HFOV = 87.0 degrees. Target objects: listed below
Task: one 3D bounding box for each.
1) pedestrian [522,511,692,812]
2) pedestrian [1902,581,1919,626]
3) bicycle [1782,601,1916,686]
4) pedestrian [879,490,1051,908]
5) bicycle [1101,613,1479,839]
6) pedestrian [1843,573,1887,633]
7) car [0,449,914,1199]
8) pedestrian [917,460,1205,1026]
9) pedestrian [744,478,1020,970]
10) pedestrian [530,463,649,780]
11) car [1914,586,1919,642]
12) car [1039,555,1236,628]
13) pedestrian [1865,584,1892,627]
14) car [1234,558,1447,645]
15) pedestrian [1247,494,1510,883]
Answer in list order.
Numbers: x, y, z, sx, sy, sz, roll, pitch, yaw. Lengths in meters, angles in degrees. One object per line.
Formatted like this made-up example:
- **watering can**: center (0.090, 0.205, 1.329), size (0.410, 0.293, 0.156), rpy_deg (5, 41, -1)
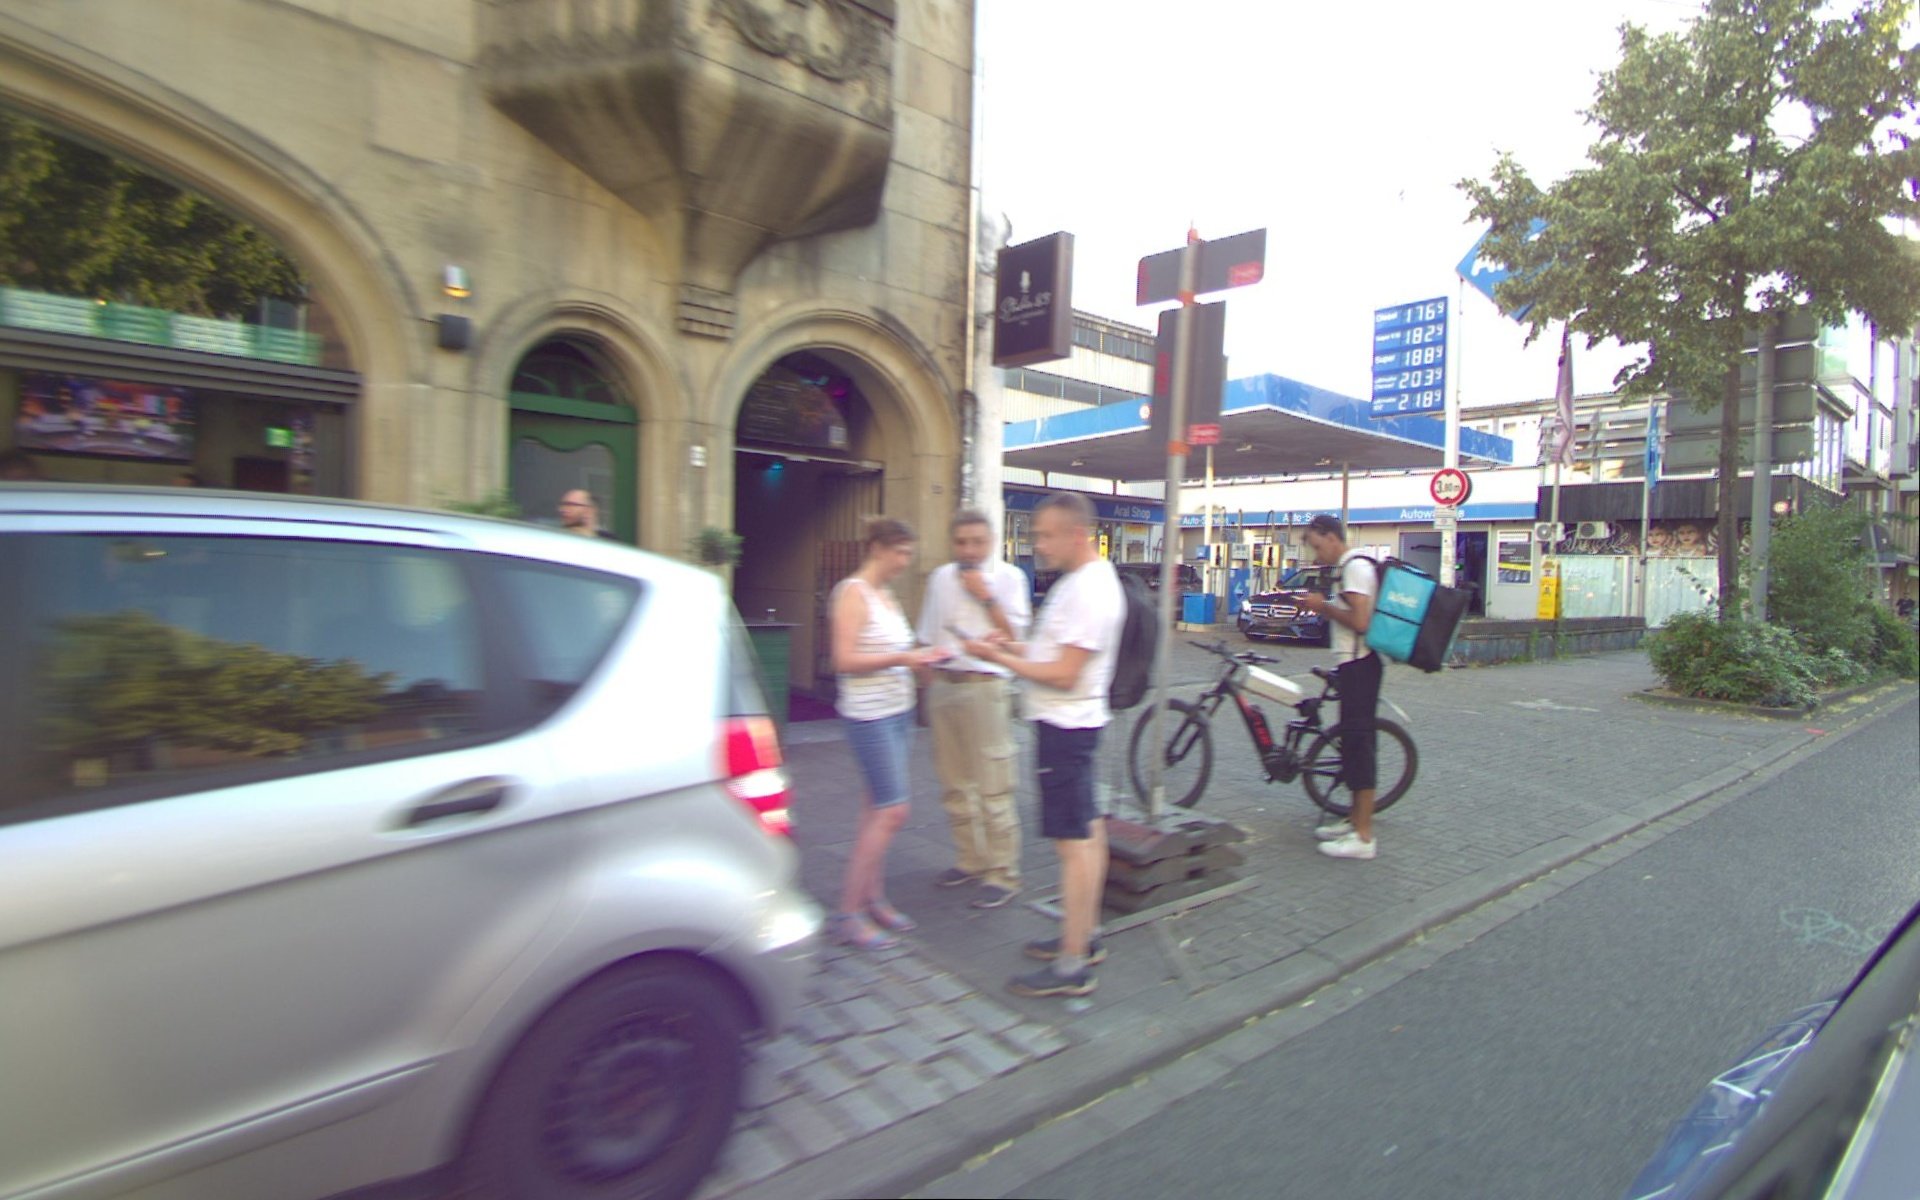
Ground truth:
- **pedestrian**: center (-2.020, 0.306, 5.776), size (0.689, 1.581, 0.660), rpy_deg (0, 4, -41)
- **pedestrian**: center (37.349, 0.141, 39.426), size (0.688, 1.725, 0.789), rpy_deg (0, 3, -41)
- **bicycle**: center (13.163, 0.644, 15.000), size (1.646, 1.156, 0.485), rpy_deg (2, 3, -10)
- **pedestrian**: center (0.045, 0.398, 4.579), size (0.642, 1.720, 0.667), rpy_deg (3, 3, 5)
- **bicycle**: center (1.880, 0.706, 6.012), size (1.889, 1.112, 0.868), rpy_deg (3, 2, -1)
- **pedestrian**: center (28.439, 0.094, 31.791), size (0.979, 1.816, 0.857), rpy_deg (0, 2, -41)
- **car**: center (-2.184, 0.516, 1.900), size (3.942, 1.594, 1.691), rpy_deg (0, 4, -41)
- **pedestrian**: center (0.379, 0.432, 3.693), size (0.676, 1.776, 0.814), rpy_deg (3, 2, 39)
- **pedestrian**: center (-0.300, 0.410, 4.060), size (0.675, 1.726, 0.815), rpy_deg (5, 3, 35)
- **pedestrian**: center (-2.337, 0.121, 6.388), size (0.458, 1.898, 0.495), rpy_deg (3, 1, 34)
- **car**: center (28.332, 0.440, 28.443), size (4.767, 1.506, 1.832), rpy_deg (0, 4, -43)
- **car**: center (4.000, -0.254, 22.296), size (4.677, 1.419, 1.714), rpy_deg (-1, 4, -41)
- **pedestrian**: center (34.225, 0.198, 37.708), size (0.759, 1.544, 0.612), rpy_deg (0, 2, -40)
- **car**: center (7.413, -0.053, 19.487), size (4.823, 1.448, 1.738), rpy_deg (-1, 4, -41)
- **pedestrian**: center (2.230, 0.387, 5.414), size (1.013, 1.847, 0.769), rpy_deg (5, 4, 40)
